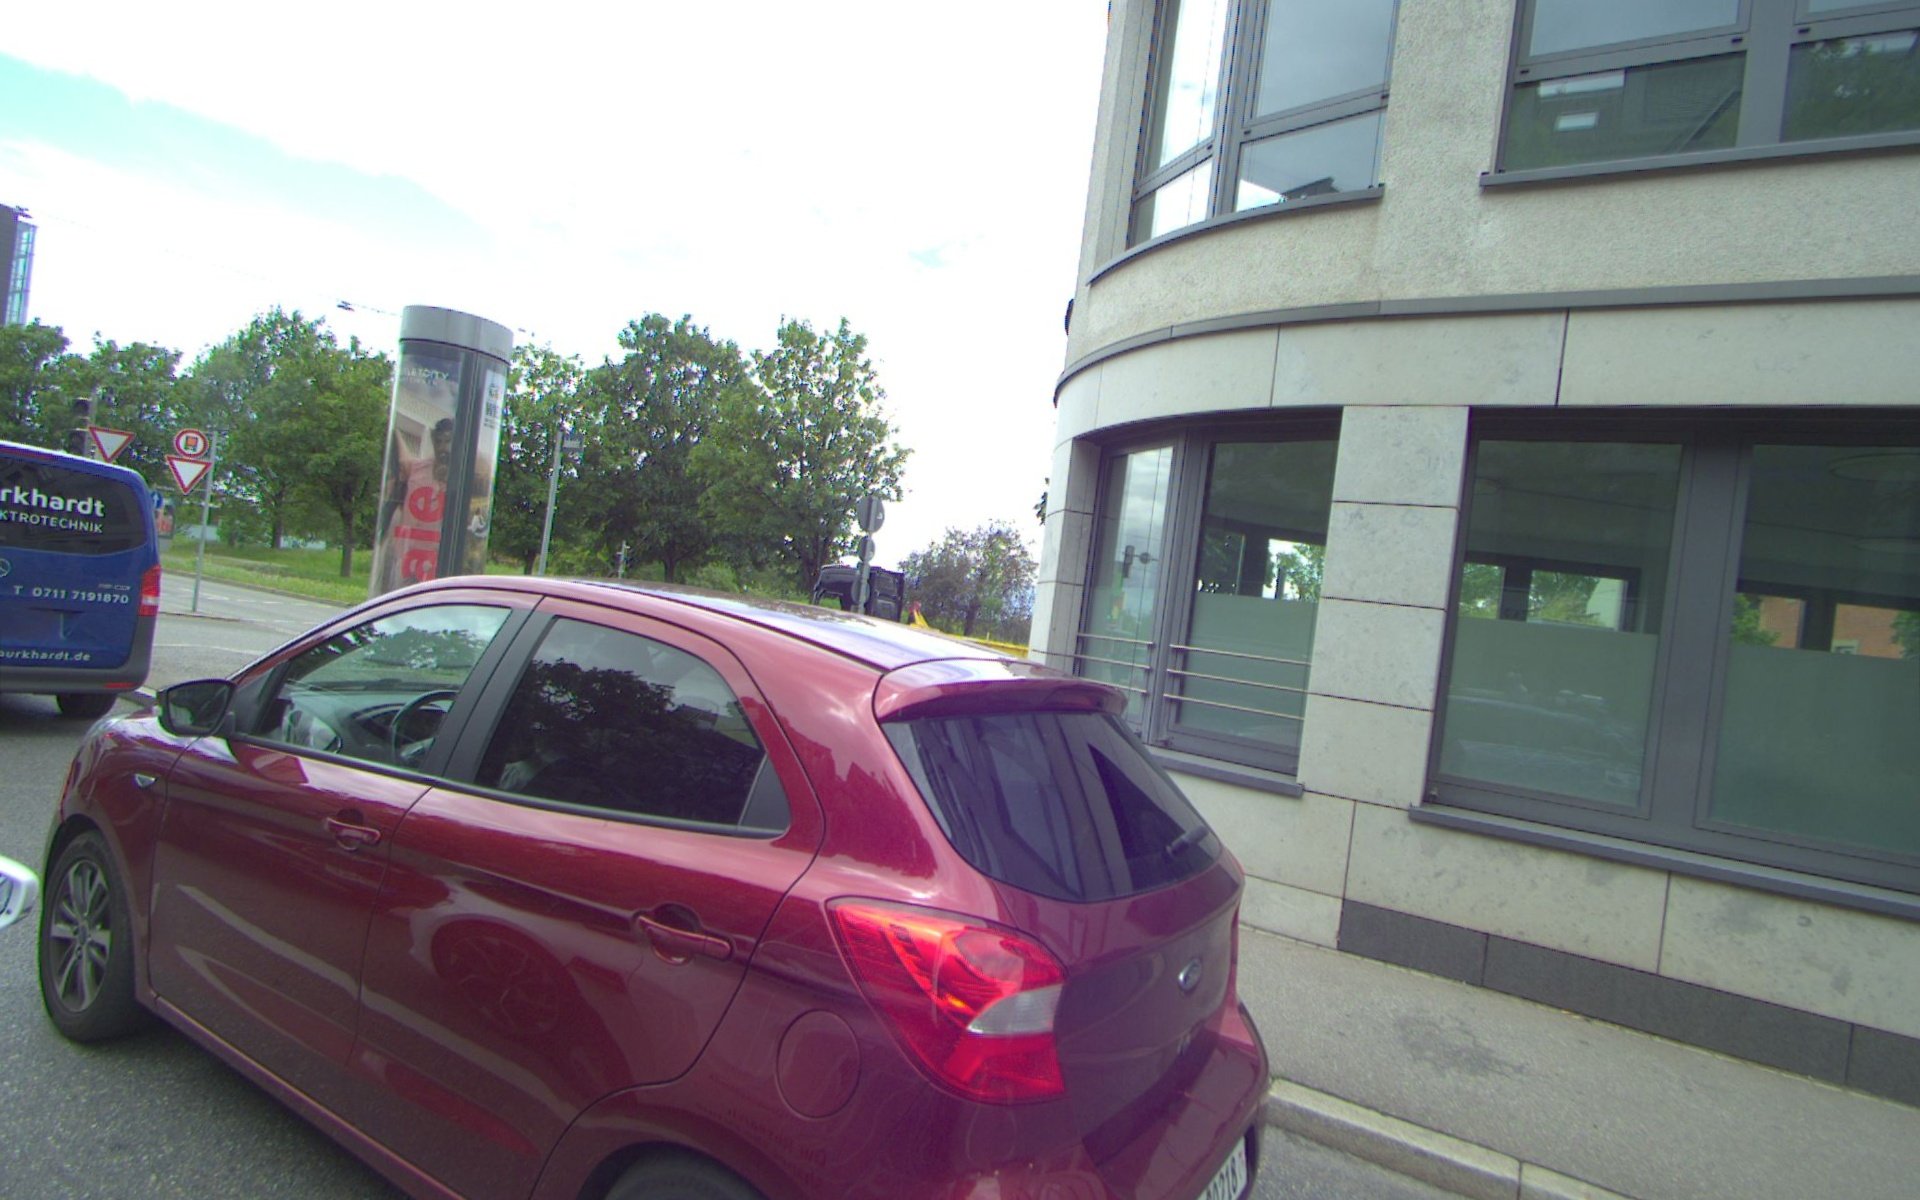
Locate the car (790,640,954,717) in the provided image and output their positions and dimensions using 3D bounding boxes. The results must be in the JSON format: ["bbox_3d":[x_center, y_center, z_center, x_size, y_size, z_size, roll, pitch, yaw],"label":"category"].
[{"bbox_3d":[-2.348,2.093,26.969,3.903,1.389,1.656,8,-2,19],"label":"car"}]

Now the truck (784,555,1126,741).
[{"bbox_3d":[-0.166,1.345,29.801,9.280,3.969,2.832,8,-2,18],"label":"truck"}]

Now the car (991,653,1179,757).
[{"bbox_3d":[3.142,2.571,25.050,4.206,1.817,1.758,8,-2,17],"label":"car"}]

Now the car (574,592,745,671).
[{"bbox_3d":[-8.779,0.937,29.435,4.404,1.547,1.858,9,-2,19],"label":"car"}]

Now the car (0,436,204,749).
[{"bbox_3d":[-7.723,-0.264,7.307,4.632,1.880,1.906,7,-2,33],"label":"car"}]

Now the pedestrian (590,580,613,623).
[{"bbox_3d":[-14.490,0.053,40.637,0.538,1.626,0.693,3,6,-42],"label":"pedestrian"}]

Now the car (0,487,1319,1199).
[{"bbox_3d":[-1.081,0.669,2.981,3.656,1.498,1.749,7,-2,30],"label":"car"}]

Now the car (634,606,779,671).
[{"bbox_3d":[-8.309,1.278,33.044,4.081,1.458,1.992,8,-2,19],"label":"car"}]
